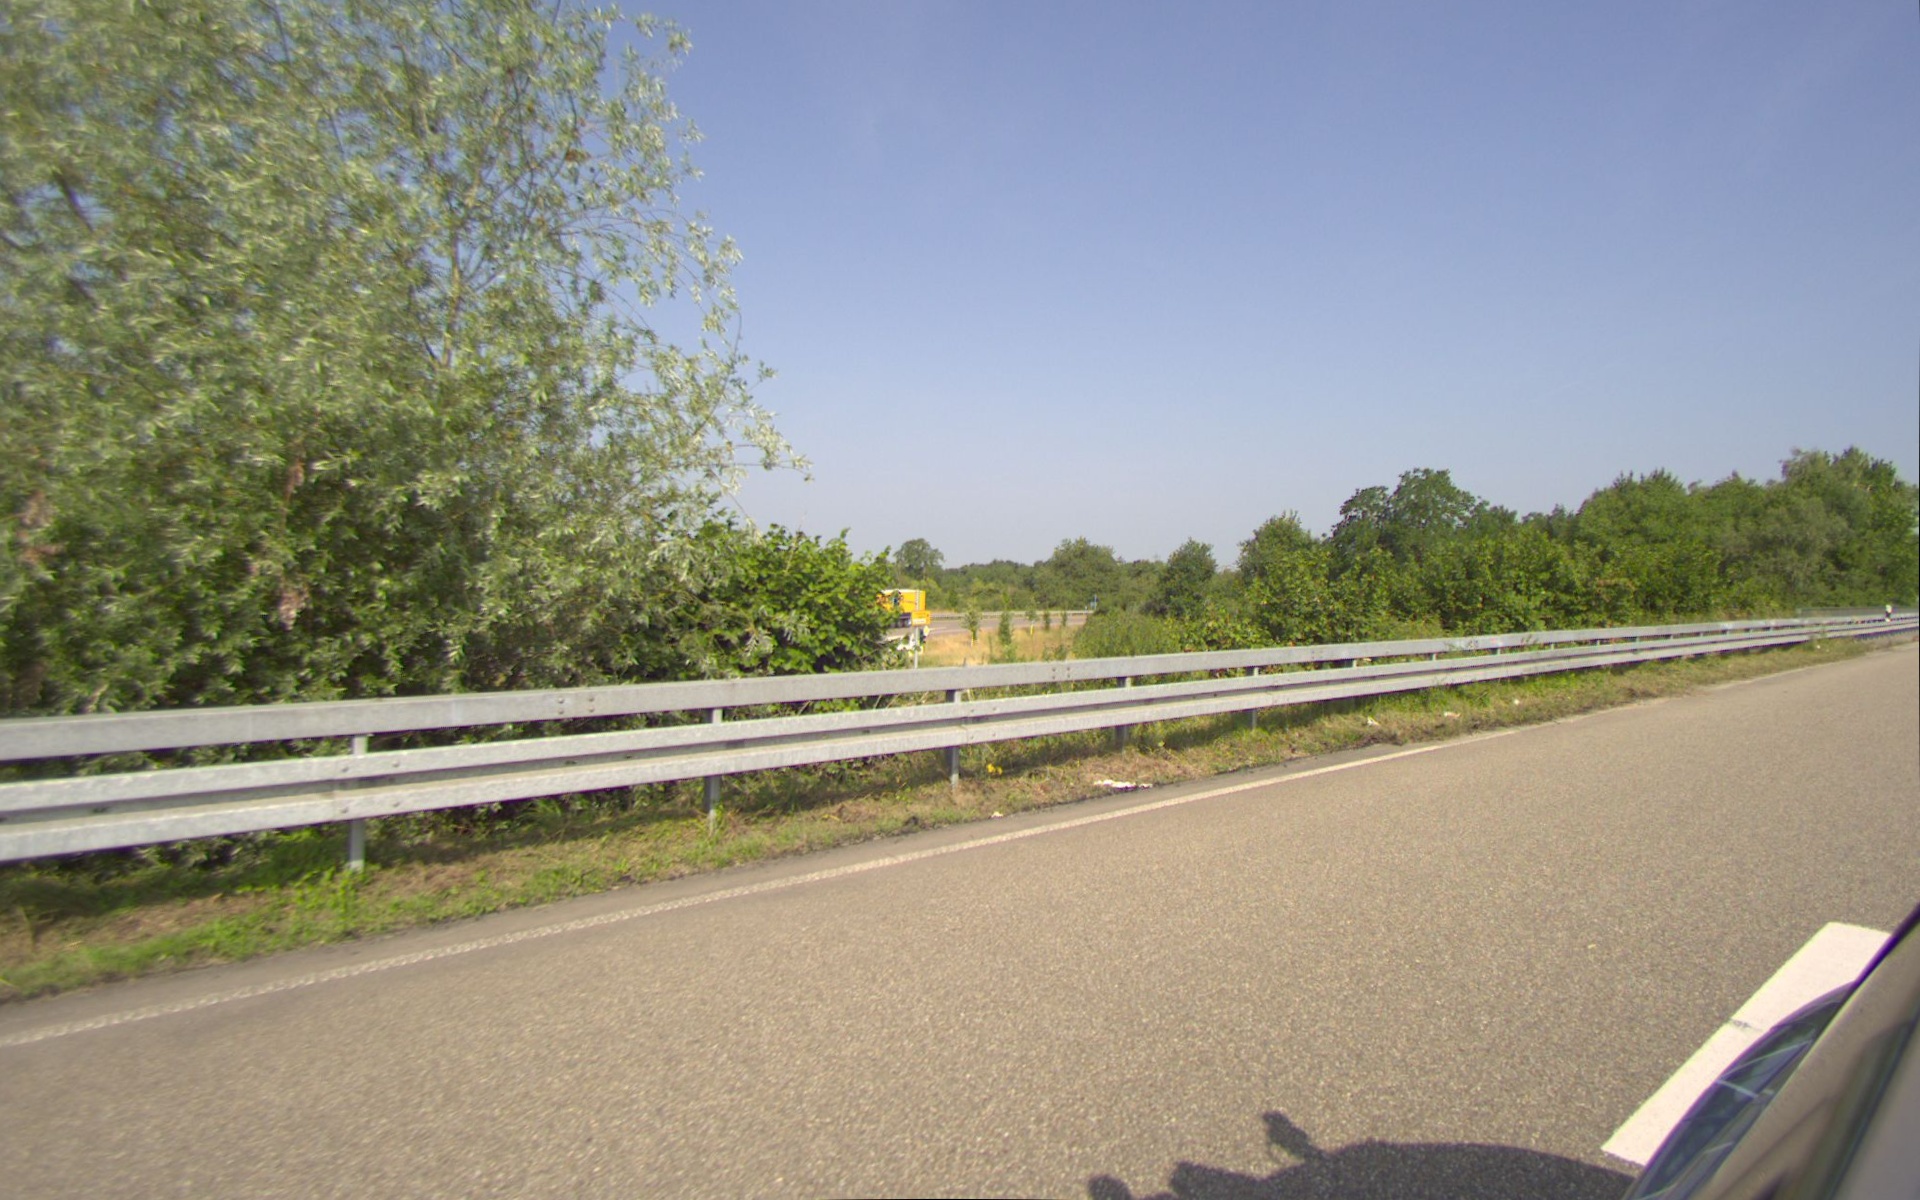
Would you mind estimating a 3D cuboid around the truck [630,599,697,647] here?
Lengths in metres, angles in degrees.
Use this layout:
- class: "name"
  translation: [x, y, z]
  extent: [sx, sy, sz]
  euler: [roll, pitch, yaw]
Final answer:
- class: "truck"
  translation: [-23.883, 1.796, 81.687]
  extent: [2.096, 3.724, 4.878]
  euler: [1, 0, 36]

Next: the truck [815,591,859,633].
- class: "truck"
  translation: [-12.661, 1.196, 104.445]
  extent: [2.246, 4.221, 4.320]
  euler: [1, 1, 33]

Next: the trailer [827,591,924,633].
- class: "trailer"
  translation: [-8.940, 1.130, 110.249]
  extent: [2.246, 4.221, 14.255]
  euler: [1, 1, 33]

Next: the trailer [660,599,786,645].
- class: "trailer"
  translation: [-20.330, 1.746, 88.331]
  extent: [2.089, 3.698, 13.791]
  euler: [1, 0, 28]
